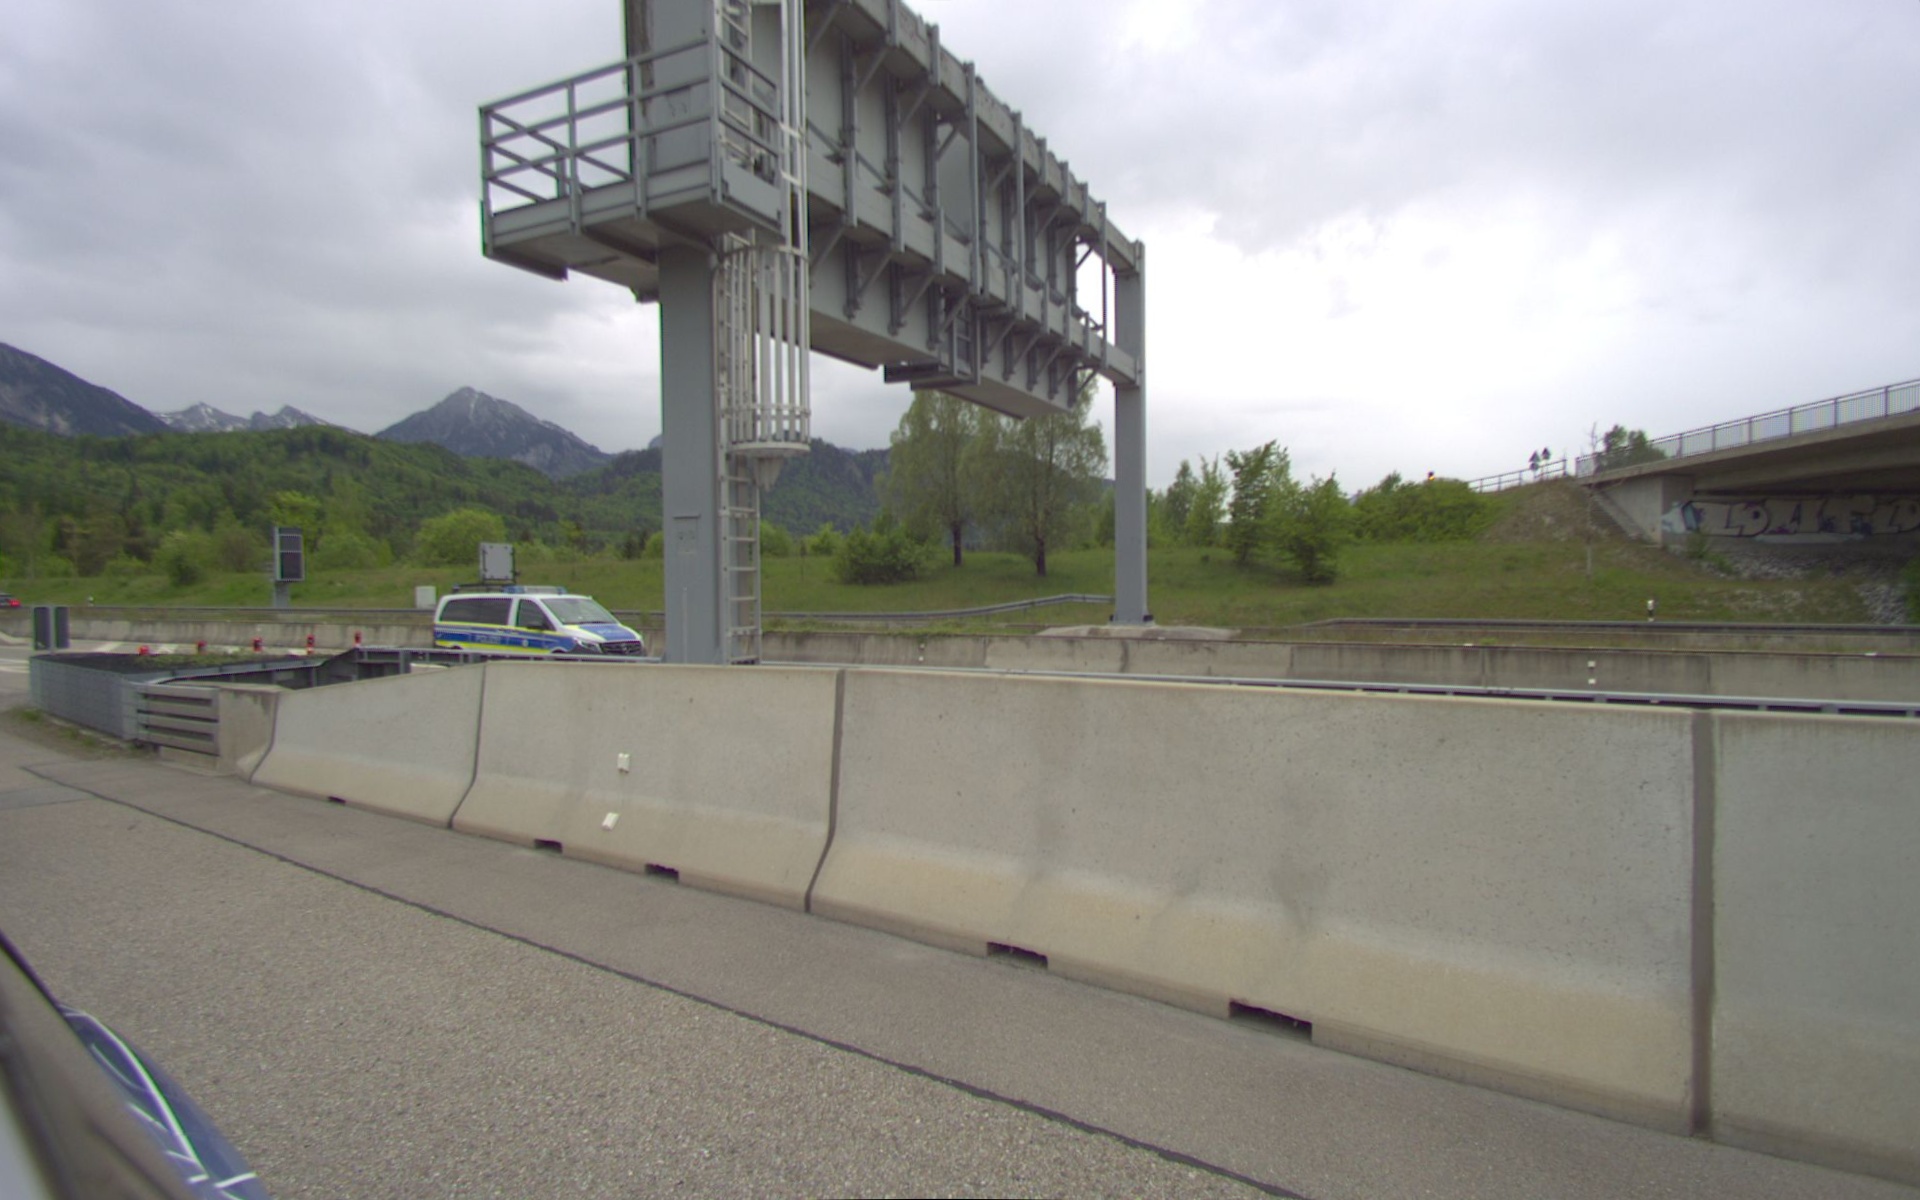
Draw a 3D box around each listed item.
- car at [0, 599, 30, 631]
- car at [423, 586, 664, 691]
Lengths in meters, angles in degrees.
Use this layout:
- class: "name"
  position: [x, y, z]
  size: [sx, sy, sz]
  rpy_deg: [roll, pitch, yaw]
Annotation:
- class: "car"
  position: [-61.482, 0.960, 64.169]
  size: [5.081, 1.970, 1.974]
  rpy_deg: [0, -1, 26]
- class: "car"
  position: [-8.956, 0.771, 21.690]
  size: [5.028, 2.029, 2.085]
  rpy_deg: [0, -1, 28]
